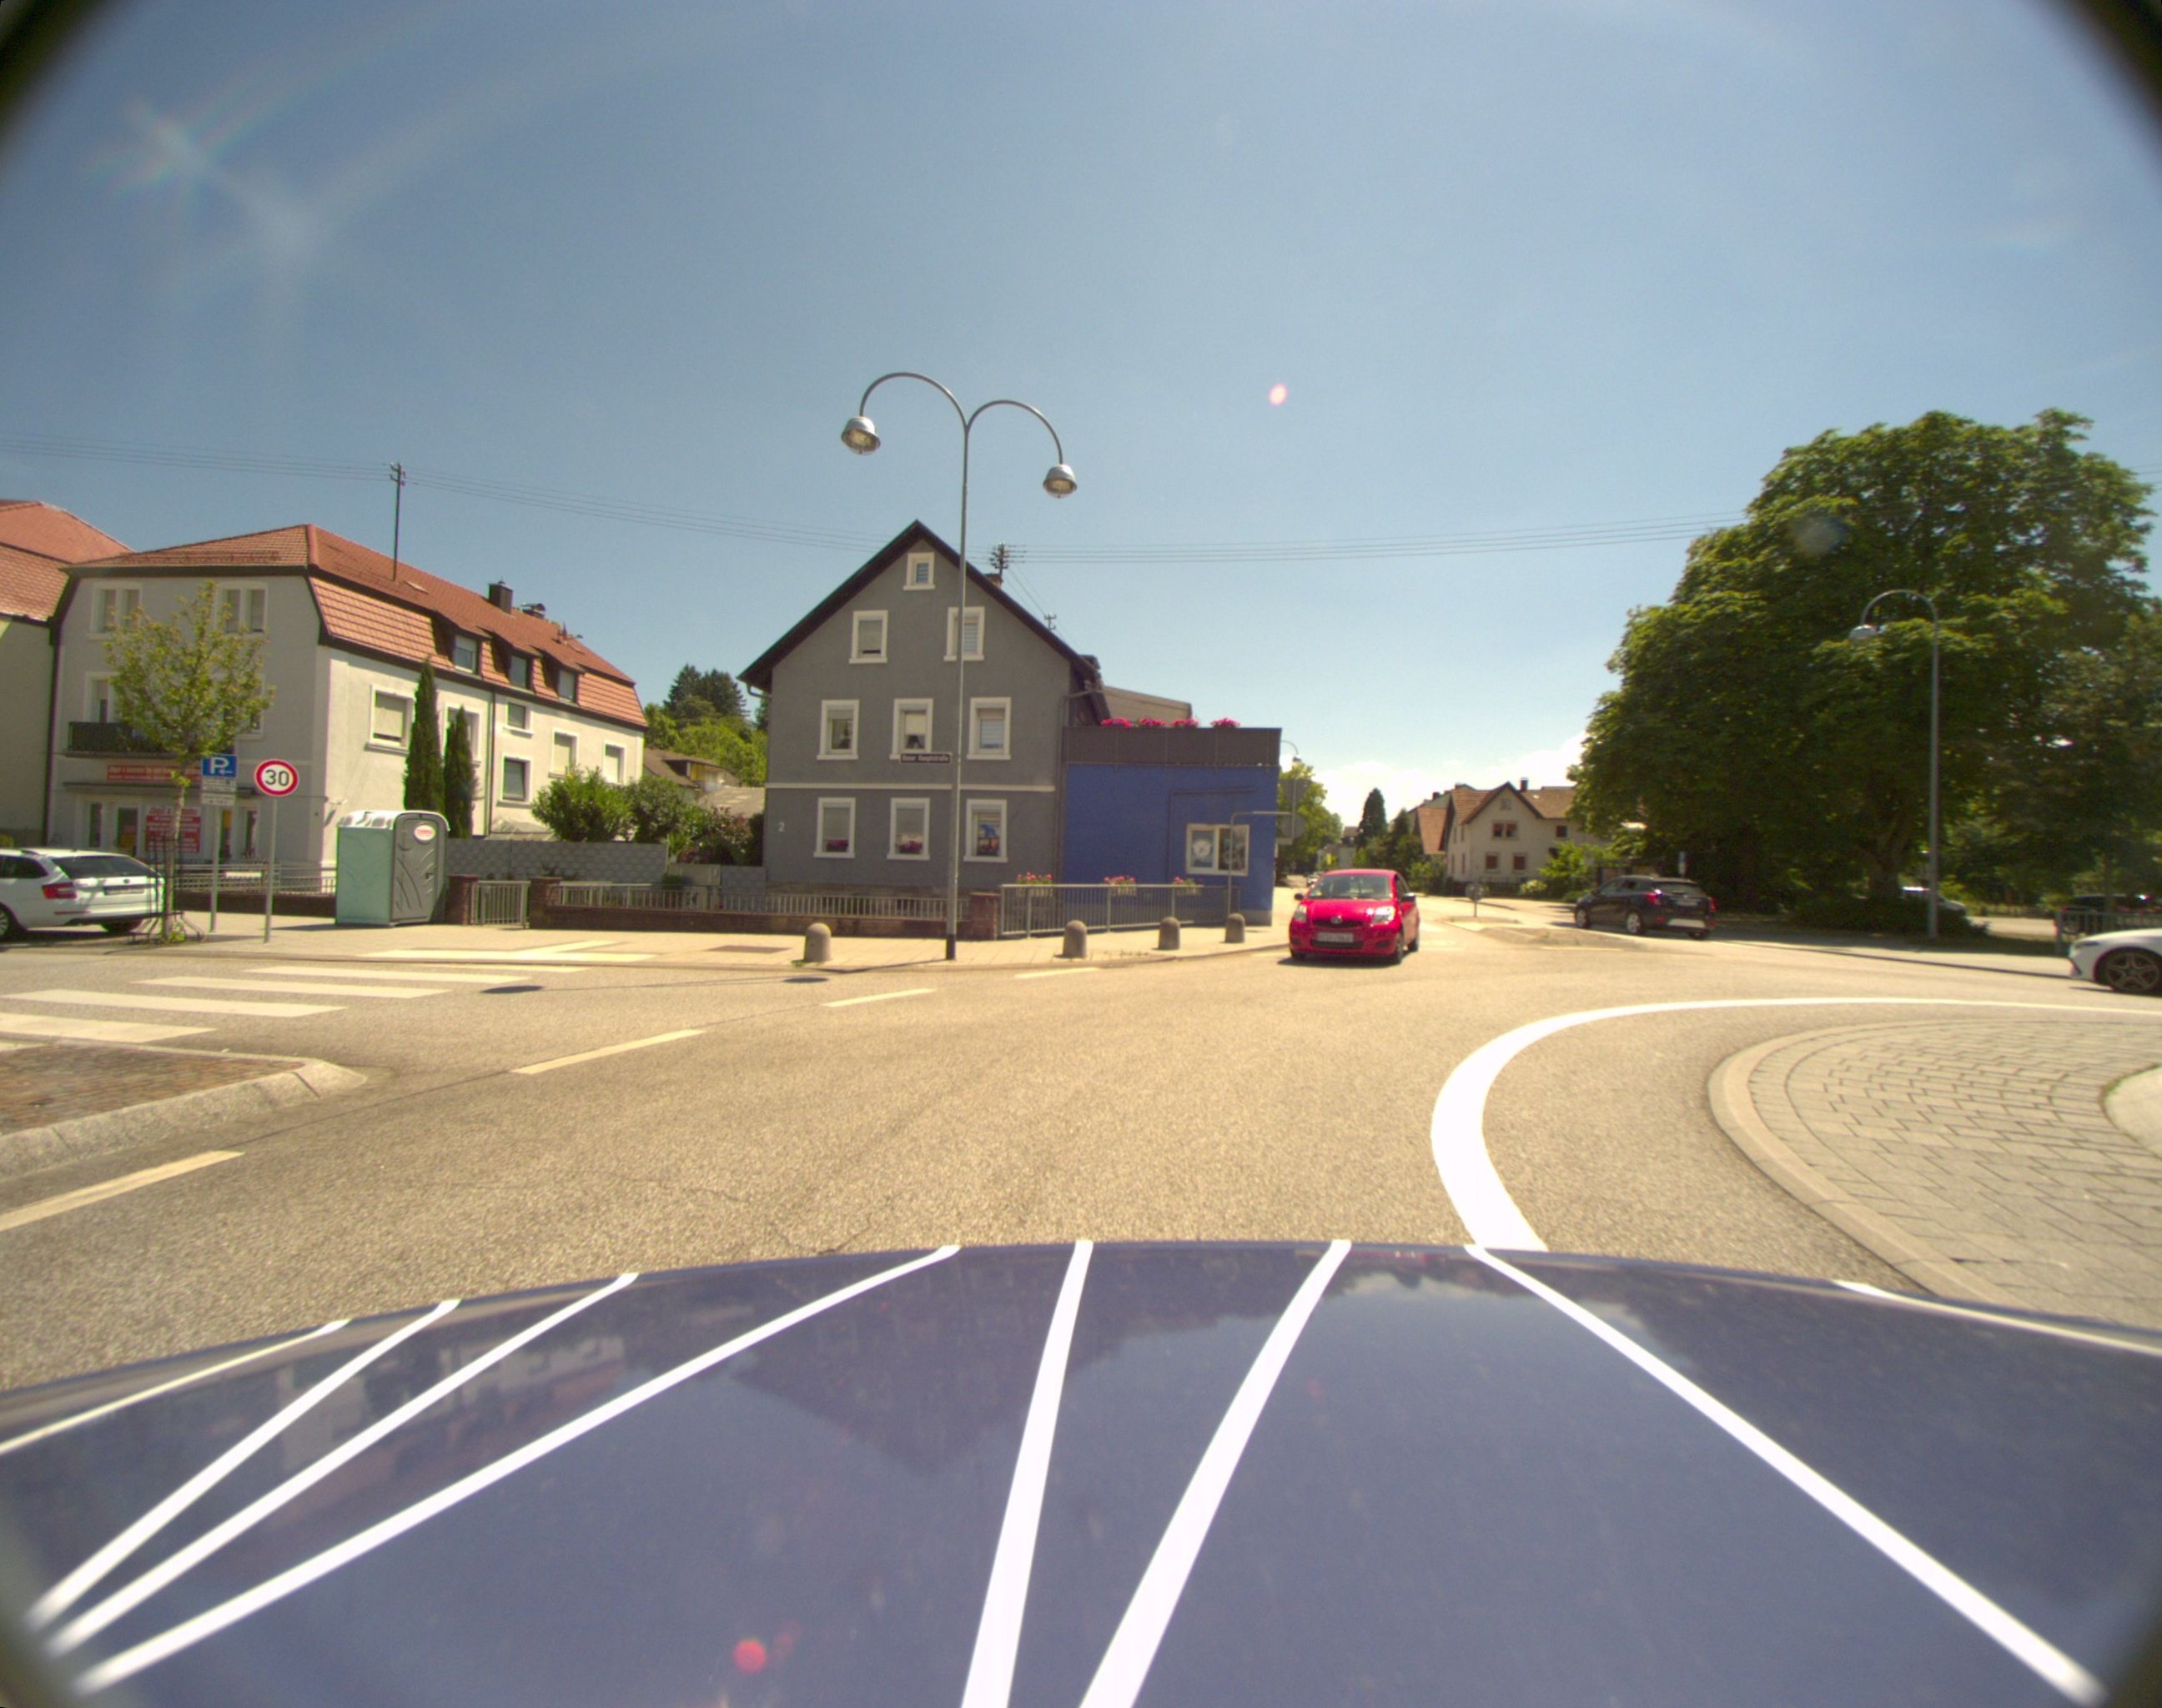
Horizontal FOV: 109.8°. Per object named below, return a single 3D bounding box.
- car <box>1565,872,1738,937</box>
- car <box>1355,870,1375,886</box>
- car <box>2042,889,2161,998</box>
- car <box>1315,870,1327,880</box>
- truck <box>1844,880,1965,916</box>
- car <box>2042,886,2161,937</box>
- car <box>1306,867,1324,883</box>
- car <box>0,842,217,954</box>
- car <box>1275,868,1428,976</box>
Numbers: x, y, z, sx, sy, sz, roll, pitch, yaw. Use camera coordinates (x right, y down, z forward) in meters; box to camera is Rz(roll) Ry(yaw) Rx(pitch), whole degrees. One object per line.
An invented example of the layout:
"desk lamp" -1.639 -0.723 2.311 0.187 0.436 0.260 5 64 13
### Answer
"car" 15.759 1.395 21.311 1.997 1.552 4.171 2 -3 5
"car" 37.595 3.224 100.714 1.996 2.001 4.007 3 -2 14
"car" 15.259 1.243 9.072 1.933 1.373 4.285 3 0 -7
"car" 44.682 3.960 141.606 1.737 1.695 4.006 1 -3 11
"truck" 63.282 3.337 58.598 2.271 2.428 6.200 5 -3 -43
"car" 36.669 2.006 26.179 1.844 1.592 3.994 2 0 -16
"car" 31.987 2.922 103.927 1.996 2.001 4.007 3 -2 14
"car" -17.798 0.664 12.705 4.284 1.576 1.998 1 4 -1
"car" 4.768 1.021 13.009 1.830 1.524 4.008 -1 -1 29
